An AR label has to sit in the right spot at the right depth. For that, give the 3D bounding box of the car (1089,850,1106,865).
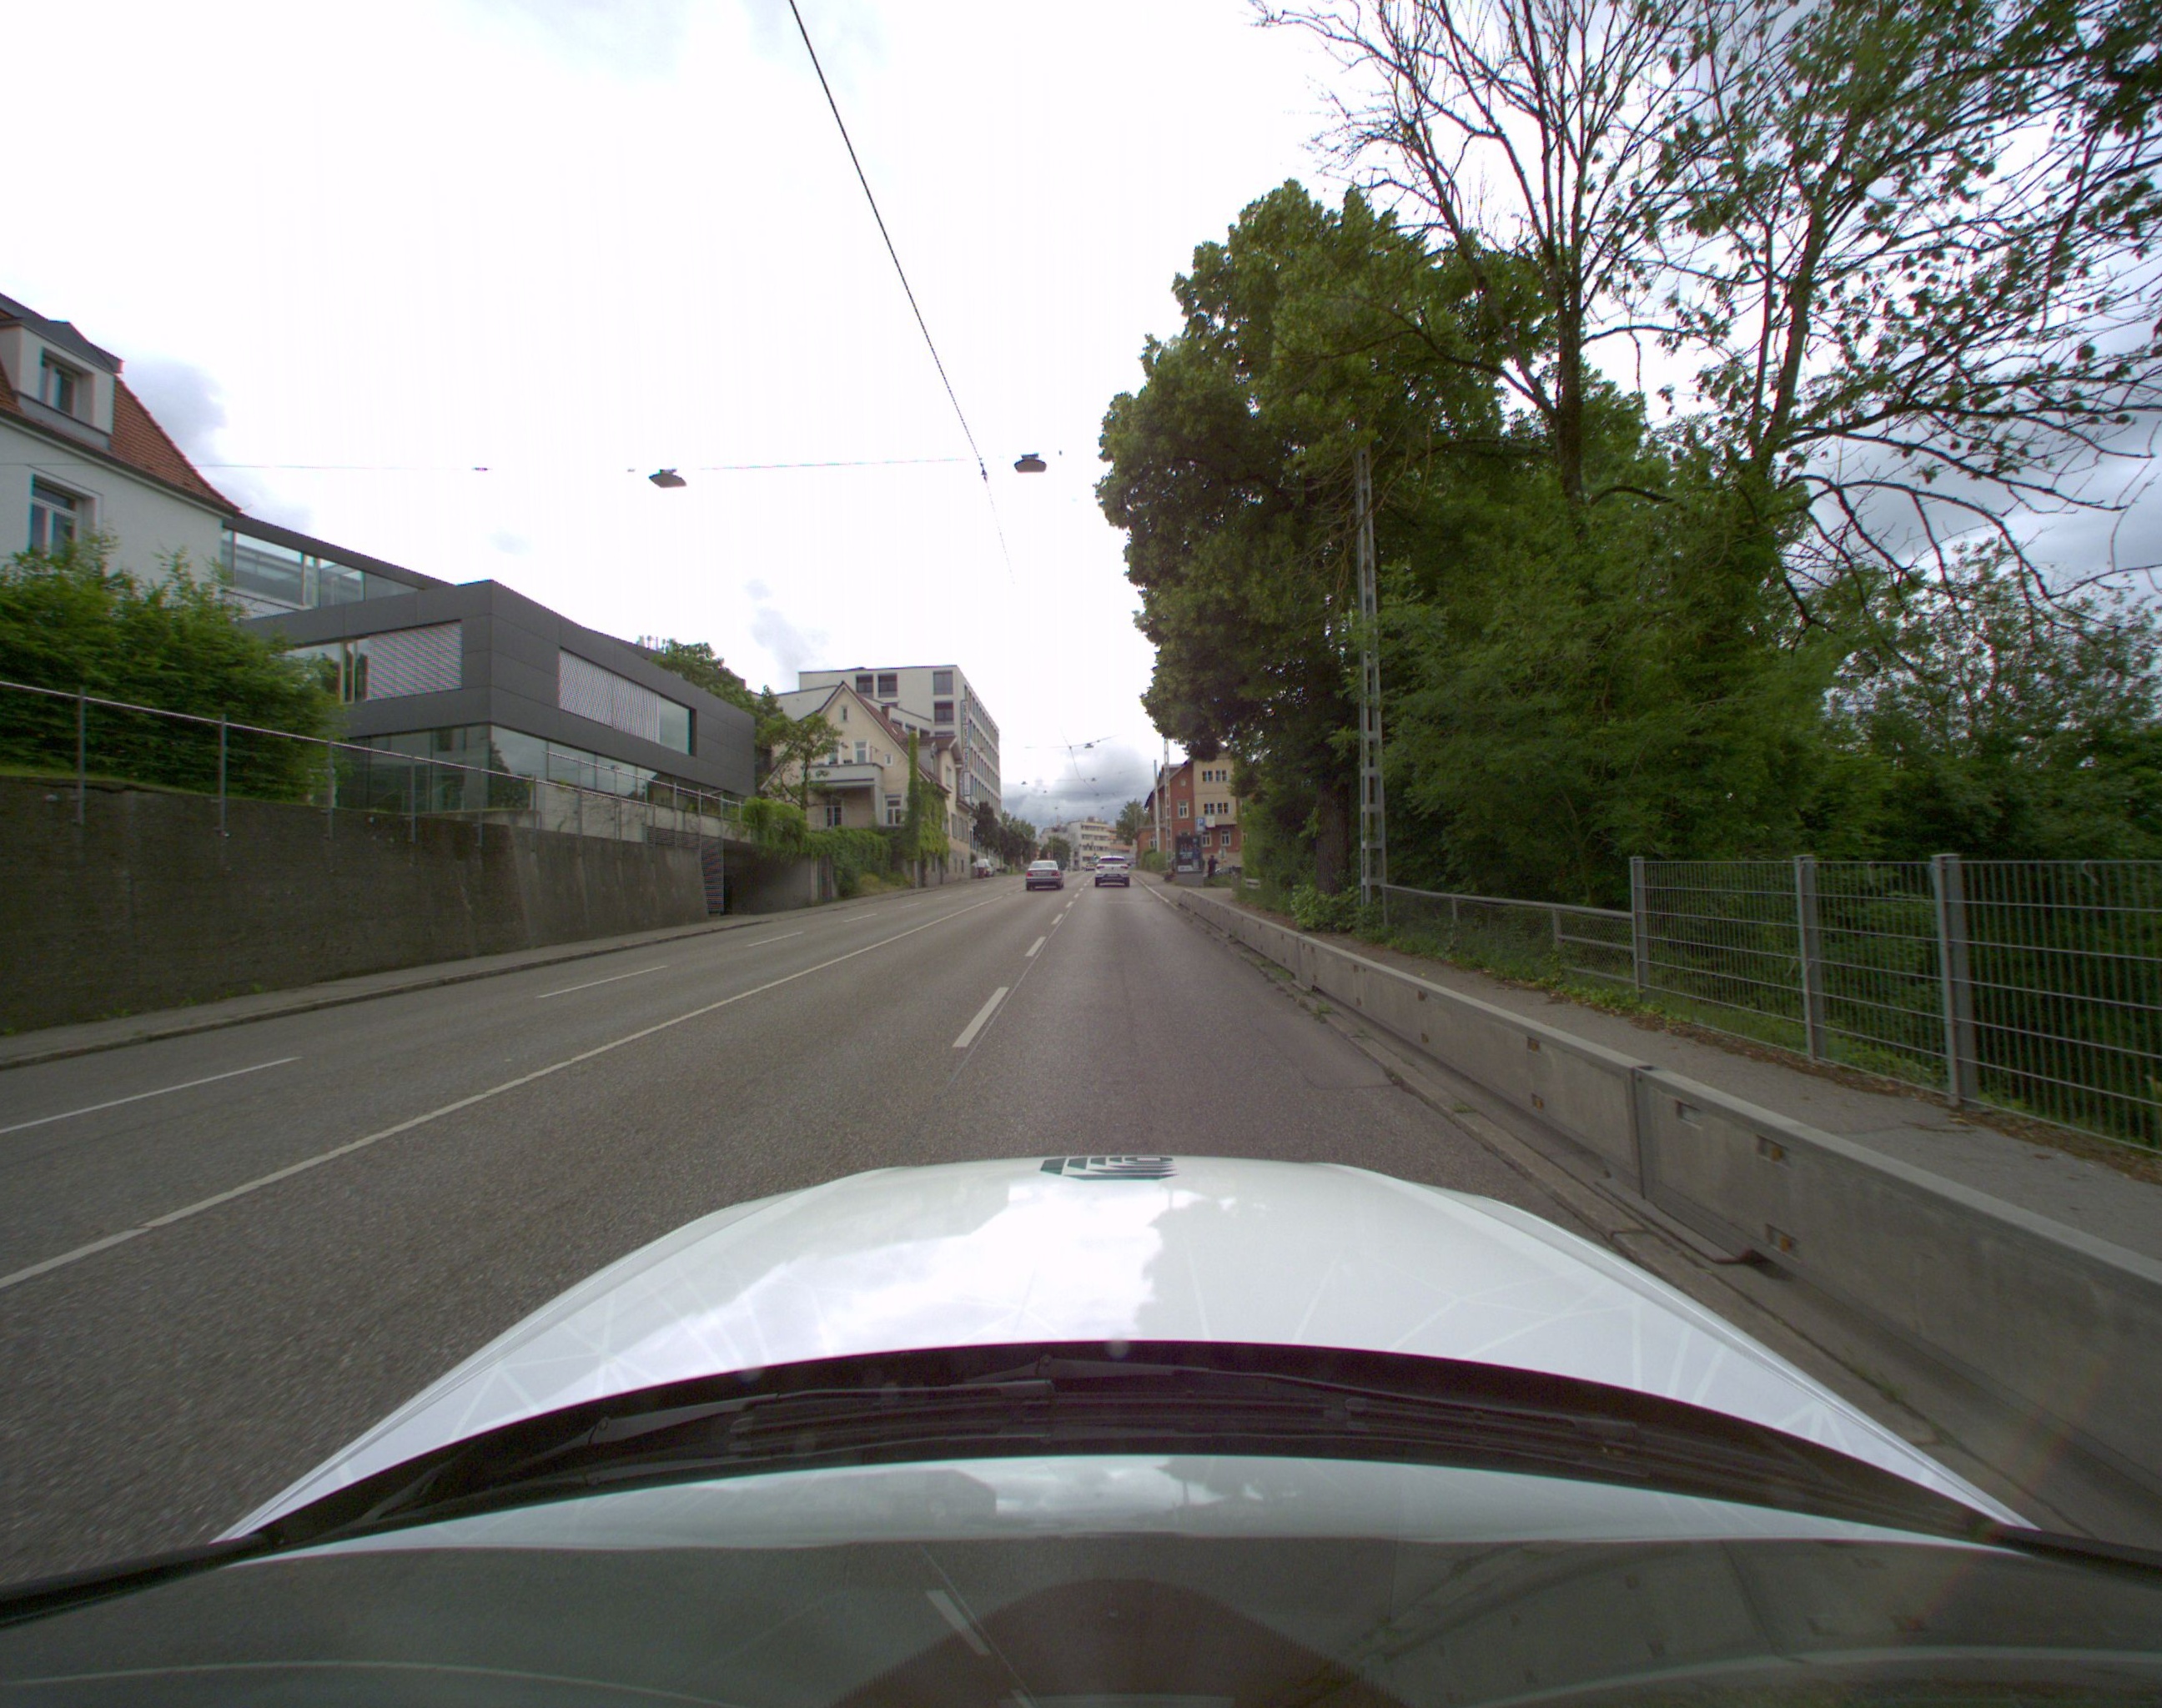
[{"bbox_3d":[1.905,0.377,91.215,1.823,1.651,4.002,-2,0,2],"label":"car"}]

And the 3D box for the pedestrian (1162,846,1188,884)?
[{"bbox_3d":[4.819,0.555,41.966,0.818,1.884,0.938,-3,0,-35],"label":"pedestrian"}]

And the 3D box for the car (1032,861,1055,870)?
[{"bbox_3d":[-6.804,2.107,147.438,4.023,1.544,1.759,0,-2,-44],"label":"car"}]

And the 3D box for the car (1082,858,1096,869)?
[{"bbox_3d":[1.158,1.356,119.171,1.823,1.464,4.002,-2,0,2],"label":"car"}]

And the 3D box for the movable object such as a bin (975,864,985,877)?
[{"bbox_3d":[-9.013,1.463,72.698,0.808,1.189,0.697,2,-1,-4],"label":"movable object such as a bin"}]

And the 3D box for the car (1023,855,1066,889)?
[{"bbox_3d":[-1.709,0.827,38.891,1.693,1.516,3.737,-2,0,2],"label":"car"}]

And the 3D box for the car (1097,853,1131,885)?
[{"bbox_3d":[1.696,0.758,42.237,1.693,1.548,3.737,1,0,2],"label":"car"}]

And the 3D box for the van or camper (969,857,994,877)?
[{"bbox_3d":[-10.480,1.316,86.121,2.054,1.968,4.871,-2,0,-1],"label":"van or camper"}]

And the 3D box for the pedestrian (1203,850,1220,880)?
[{"bbox_3d":[7.222,0.612,44.945,0.587,1.571,0.641,-3,0,-28],"label":"pedestrian"}]
